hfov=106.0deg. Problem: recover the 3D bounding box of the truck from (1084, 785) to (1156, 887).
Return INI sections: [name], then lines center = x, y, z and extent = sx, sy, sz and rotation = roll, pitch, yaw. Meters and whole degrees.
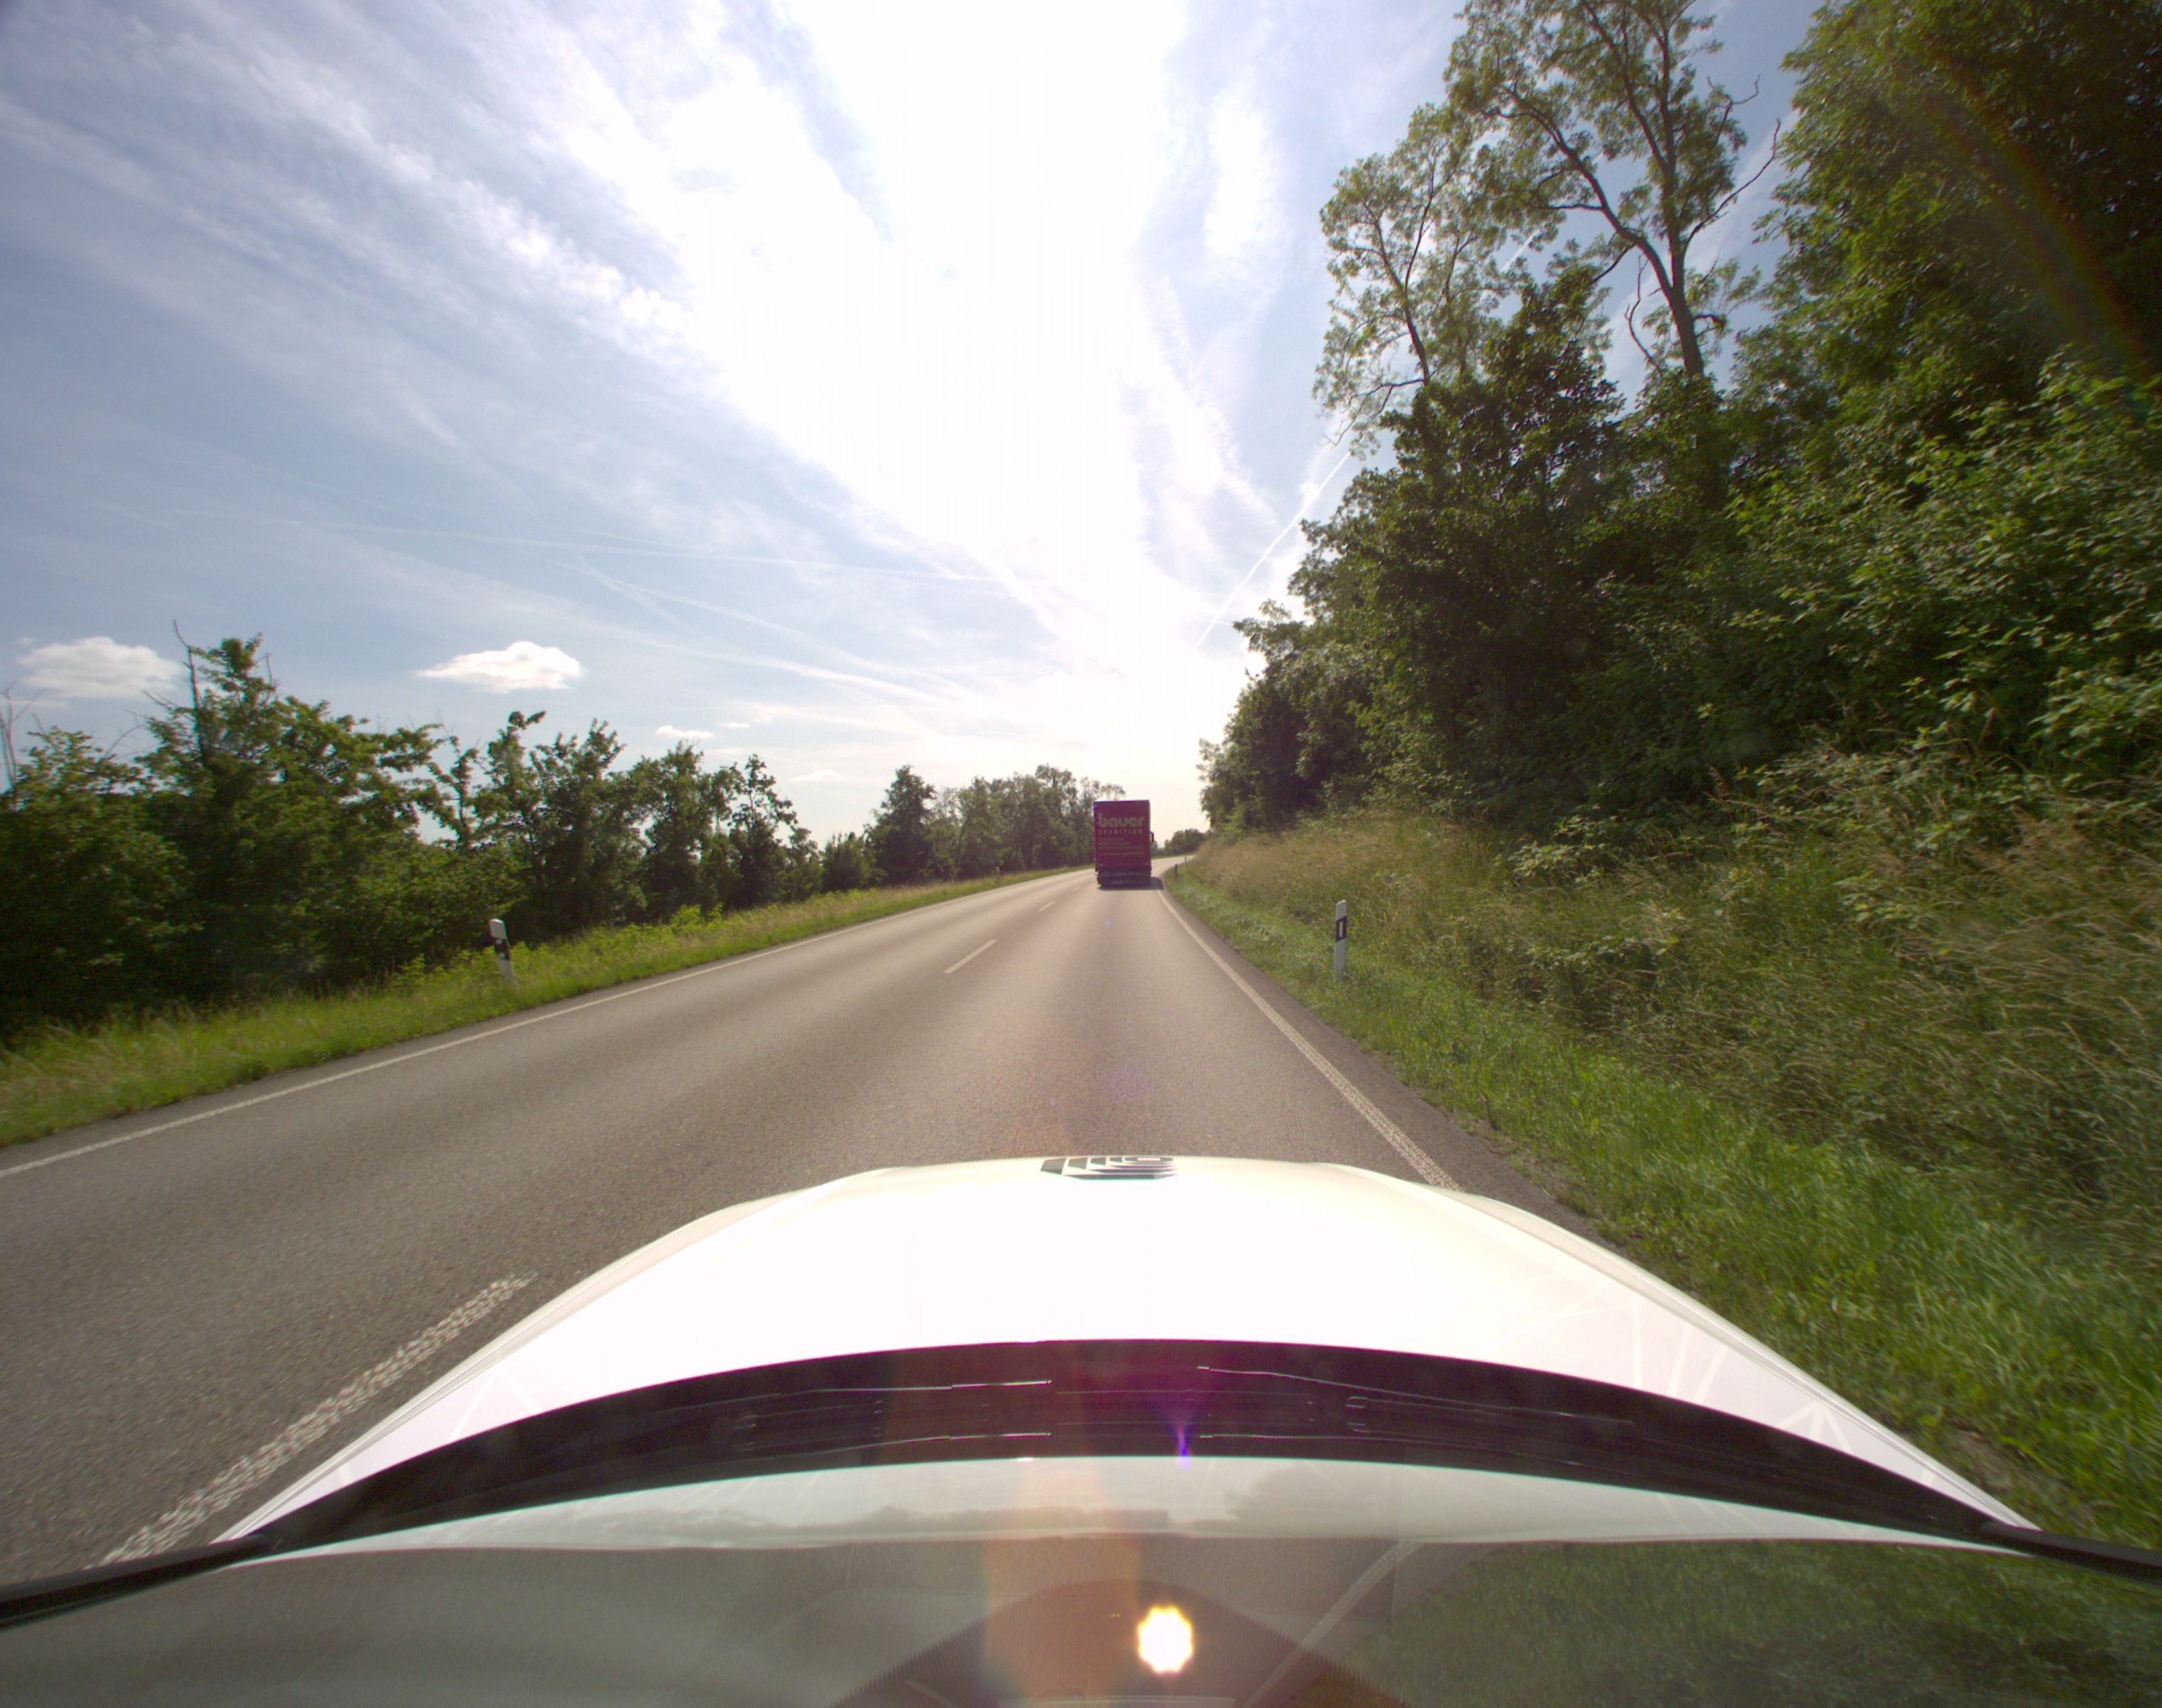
[truck]
center = 2.145, -0.804, 42.515
extent = 3.099, 4.506, 12.179
rotation = -2, 0, 4
